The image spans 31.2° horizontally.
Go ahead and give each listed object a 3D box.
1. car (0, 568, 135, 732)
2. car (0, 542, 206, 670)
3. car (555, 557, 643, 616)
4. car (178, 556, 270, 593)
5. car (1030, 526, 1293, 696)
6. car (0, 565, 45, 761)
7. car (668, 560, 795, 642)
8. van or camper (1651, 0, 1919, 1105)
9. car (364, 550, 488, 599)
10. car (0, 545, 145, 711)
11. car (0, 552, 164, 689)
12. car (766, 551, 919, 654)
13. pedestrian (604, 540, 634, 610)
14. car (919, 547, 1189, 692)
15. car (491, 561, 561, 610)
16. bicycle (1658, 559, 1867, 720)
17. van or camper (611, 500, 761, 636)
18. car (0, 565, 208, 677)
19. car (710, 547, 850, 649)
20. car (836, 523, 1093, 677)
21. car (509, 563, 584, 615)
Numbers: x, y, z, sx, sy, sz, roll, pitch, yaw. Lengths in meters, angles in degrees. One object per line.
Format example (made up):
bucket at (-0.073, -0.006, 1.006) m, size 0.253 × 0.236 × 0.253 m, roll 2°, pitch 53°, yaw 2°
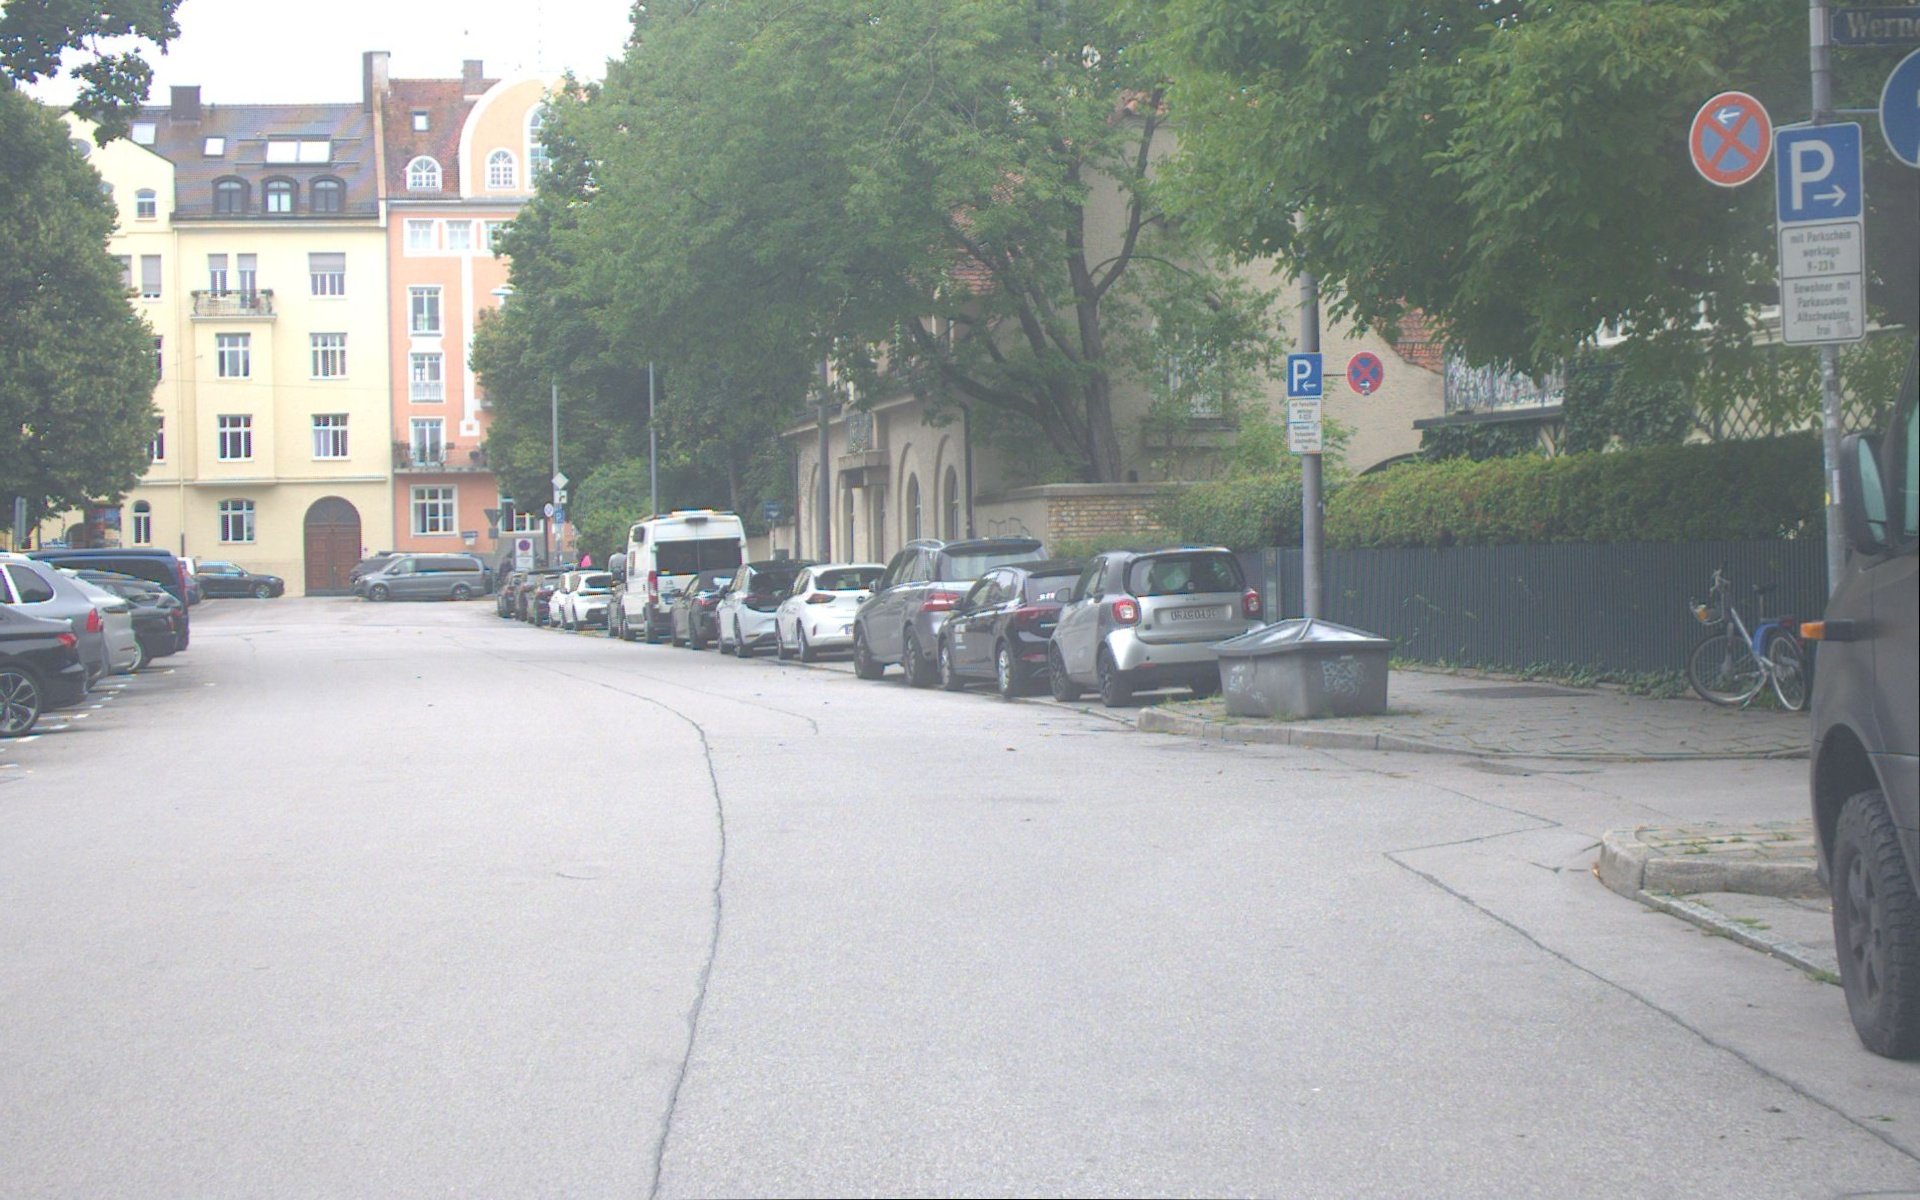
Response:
car at (-9.843, 0.495, 30.662) m, size 4.400 × 1.434 × 1.965 m, roll -2°, pitch 1°, yaw -42°
car at (-15.634, 0.098, 60.490) m, size 4.206 × 2.059 × 1.736 m, roll -3°, pitch 1°, yaw -40°
car at (-9.211, -0.355, 87.488) m, size 1.707 × 1.403 × 4.131 m, roll -3°, pitch 1°, yaw -12°
car at (-33.490, -1.169, 156.464) m, size 3.986 × 1.581 × 1.704 m, roll -1°, pitch 1°, yaw -10°
car at (1.953, 0.106, 34.085) m, size 1.738 × 1.531 × 2.947 m, roll -3°, pitch 0°, yaw -14°
car at (-9.252, 0.545, 25.187) m, size 4.503 × 1.446 × 1.897 m, roll -2°, pitch 1°, yaw -35°
car at (-4.204, -0.006, 62.757) m, size 1.707 × 1.364 × 4.442 m, roll -3°, pitch 1°, yaw -11°
van or camper at (3.603, -0.164, 7.769) m, size 2.272 × 2.896 × 7.277 m, roll -1°, pitch 1°, yaw -2°
car at (-21.105, -1.026, 135.907) m, size 4.702 × 1.874 × 1.841 m, roll -1°, pitch 1°, yaw -13°
car at (-11.111, 0.332, 36.203) m, size 4.400 × 1.693 × 2.136 m, roll -2°, pitch 1°, yaw -43°
car at (-12.344, 0.280, 42.487) m, size 4.398 × 1.615 × 2.086 m, roll -2°, pitch 1°, yaw -32°
car at (-1.818, 0.027, 52.077) m, size 1.685 × 1.436 × 4.001 m, roll -2°, pitch 0°, yaw -10°
pedestrian at (-9.882, -0.736, 99.726) m, size 0.772 × 2.007 × 0.563 m, roll -1°, pitch 1°, yaw -12°
car at (0.969, 0.179, 38.114) m, size 1.876 × 1.422 × 4.223 m, roll -3°, pitch 1°, yaw -14°
car at (-13.473, -0.474, 106.630) m, size 1.669 × 1.339 × 3.839 m, roll -3°, pitch 3°, yaw -14°
bicycle at (6.174, 0.280, 26.564) m, size 0.806 × 1.158 × 1.974 m, roll -1°, pitch 1°, yaw -11°
van or camper at (-5.595, -0.648, 69.478) m, size 2.191 × 2.541 × 5.730 m, roll -3°, pitch 1°, yaw -12°
car at (-13.356, 0.318, 50.349) m, size 4.206 × 1.456 × 1.736 m, roll -4°, pitch 2°, yaw -41°
car at (-3.030, -0.061, 57.080) m, size 1.707 × 1.532 × 4.241 m, roll -3°, pitch 1°, yaw -10°
car at (-0.023, -0.028, 42.651) m, size 1.993 × 1.705 × 4.886 m, roll -3°, pitch 1°, yaw -14°
car at (-12.271, -0.335, 101.849) m, size 1.669 × 1.339 × 3.839 m, roll -3°, pitch 3°, yaw -14°
